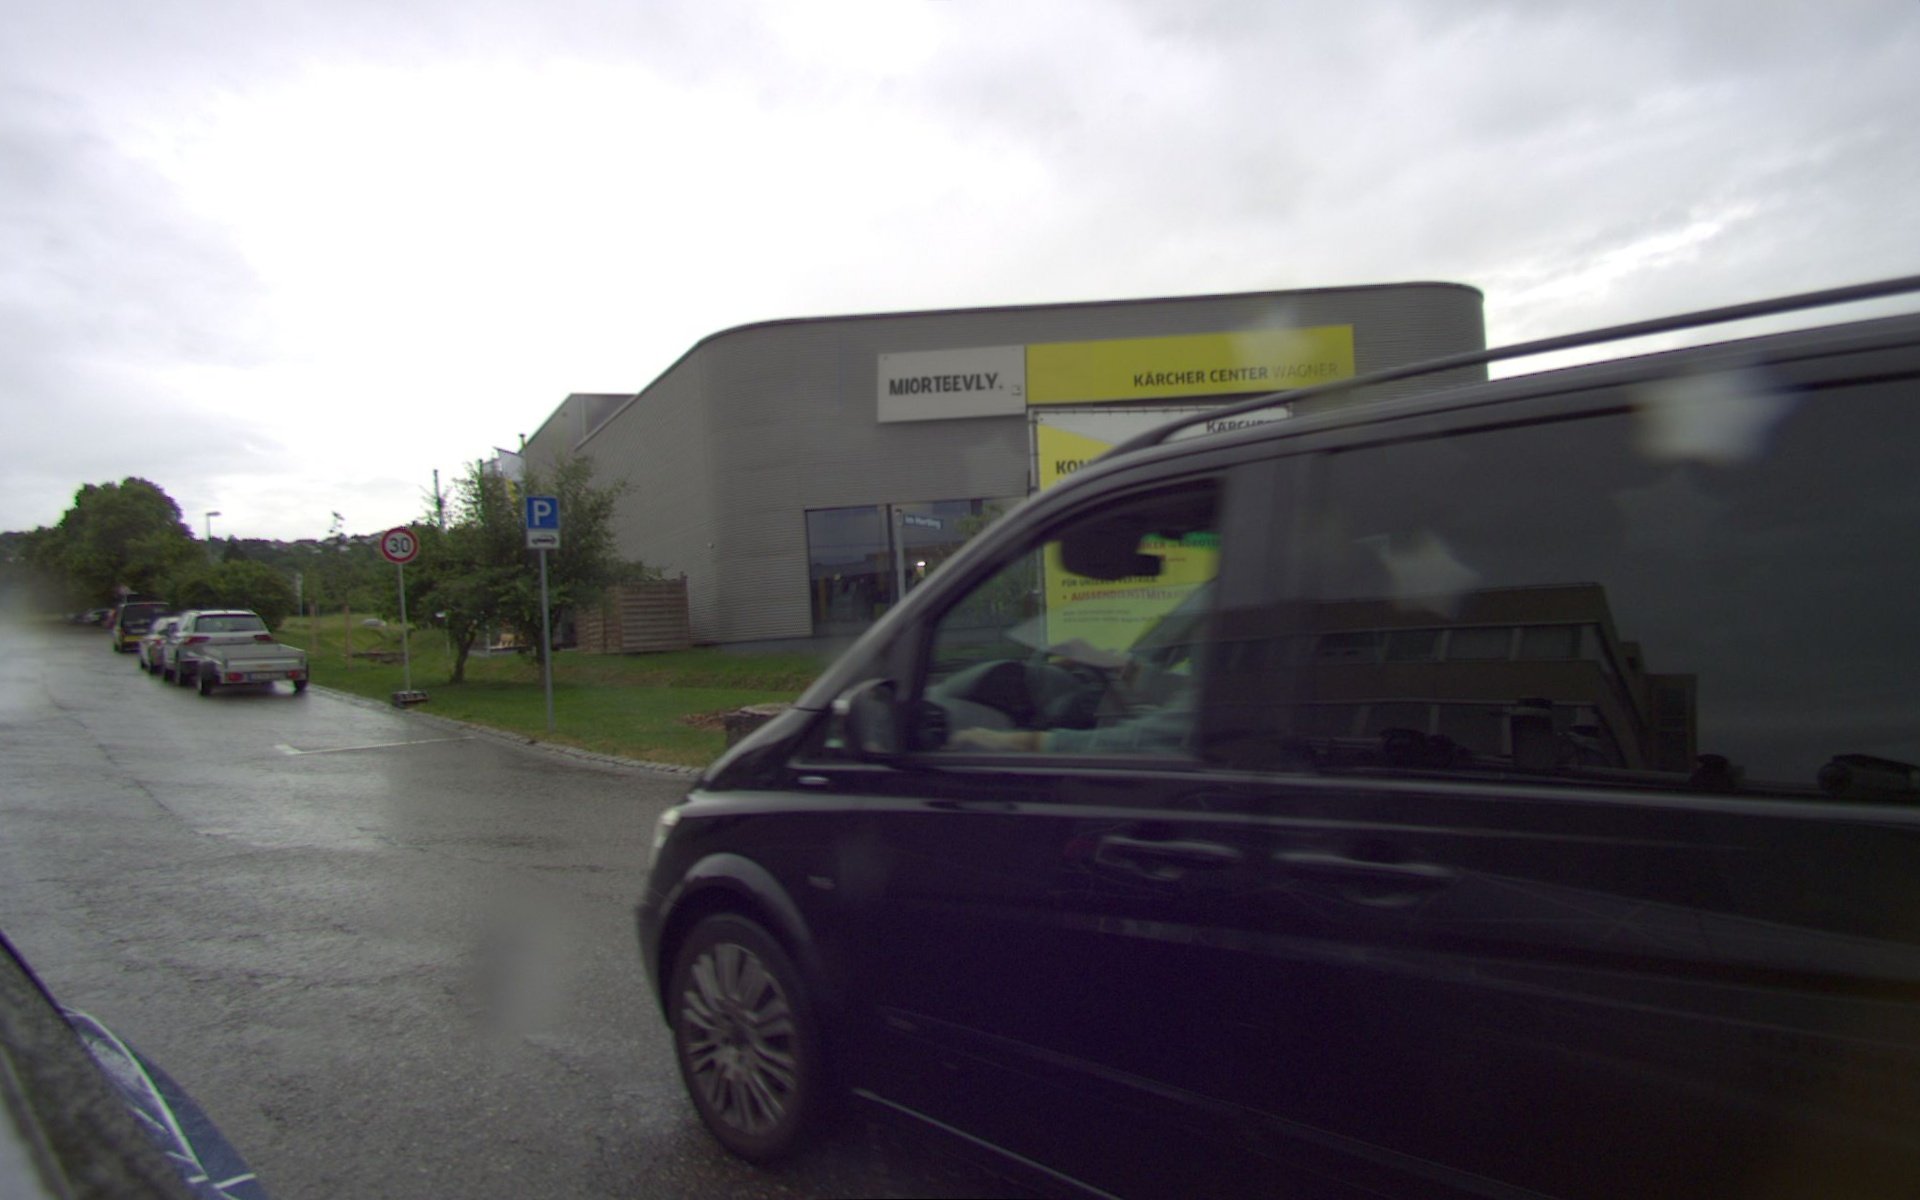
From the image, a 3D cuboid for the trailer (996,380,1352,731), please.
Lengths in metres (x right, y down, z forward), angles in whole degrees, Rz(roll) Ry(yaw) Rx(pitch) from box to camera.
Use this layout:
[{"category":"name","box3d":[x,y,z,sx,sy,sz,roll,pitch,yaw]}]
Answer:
[{"category":"trailer","box3d":[2.680,-0.559,13.373,4.122,4.235,2.008,-1,0,-5]}]

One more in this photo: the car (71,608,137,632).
[{"category":"car","box3d":[-72.152,1.695,85.320,2.027,1.734,4.028,0,3,45]}]

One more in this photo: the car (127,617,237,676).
[{"category":"car","box3d":[-22.115,1.241,28.687,1.933,1.472,5.252,-1,0,-43]}]

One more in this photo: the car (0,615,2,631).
[{"category":"car","box3d":[-96.624,2.309,100.704,3.937,1.519,1.727,0,2,45]}]

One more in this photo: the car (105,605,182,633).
[{"category":"car","box3d":[-58.785,1.334,72.882,4.247,1.920,1.865,-1,1,-41]}]

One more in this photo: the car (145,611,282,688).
[{"category":"car","box3d":[-17.781,1.088,24.001,1.935,1.588,4.843,0,0,-45]}]

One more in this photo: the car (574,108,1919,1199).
[{"category":"car","box3d":[1.264,0.416,2.226,5.070,1.900,1.865,-2,-2,42]}]

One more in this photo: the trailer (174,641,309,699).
[{"category":"trailer","box3d":[-14.804,1.374,20.777,1.661,0.895,3.900,-1,1,-44]}]

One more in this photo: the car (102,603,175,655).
[{"category":"car","box3d":[-32.069,1.092,39.453,1.892,1.845,4.853,-2,1,-42]}]

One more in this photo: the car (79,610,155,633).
[{"category":"car","box3d":[-69.745,1.748,83.759,1.807,1.601,4.567,0,3,44]}]

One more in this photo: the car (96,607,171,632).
[{"category":"car","box3d":[-62.406,1.463,76.475,1.754,1.734,4.153,0,1,41]}]

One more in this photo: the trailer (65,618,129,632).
[{"category":"trailer","box3d":[-74.183,2.143,87.023,1.999,0.968,3.900,-2,1,42]}]

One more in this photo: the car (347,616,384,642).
[{"category":"car","box3d":[-46.148,2.304,78.649,1.965,1.767,4.397,-1,-4,-24]}]

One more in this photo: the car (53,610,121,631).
[{"category":"car","box3d":[-77.978,1.810,90.429,2.043,1.734,4.324,0,1,40]}]

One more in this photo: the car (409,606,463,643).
[{"category":"car","box3d":[-31.121,1.491,60.275,2.099,1.936,5.627,-2,-2,-20]}]
